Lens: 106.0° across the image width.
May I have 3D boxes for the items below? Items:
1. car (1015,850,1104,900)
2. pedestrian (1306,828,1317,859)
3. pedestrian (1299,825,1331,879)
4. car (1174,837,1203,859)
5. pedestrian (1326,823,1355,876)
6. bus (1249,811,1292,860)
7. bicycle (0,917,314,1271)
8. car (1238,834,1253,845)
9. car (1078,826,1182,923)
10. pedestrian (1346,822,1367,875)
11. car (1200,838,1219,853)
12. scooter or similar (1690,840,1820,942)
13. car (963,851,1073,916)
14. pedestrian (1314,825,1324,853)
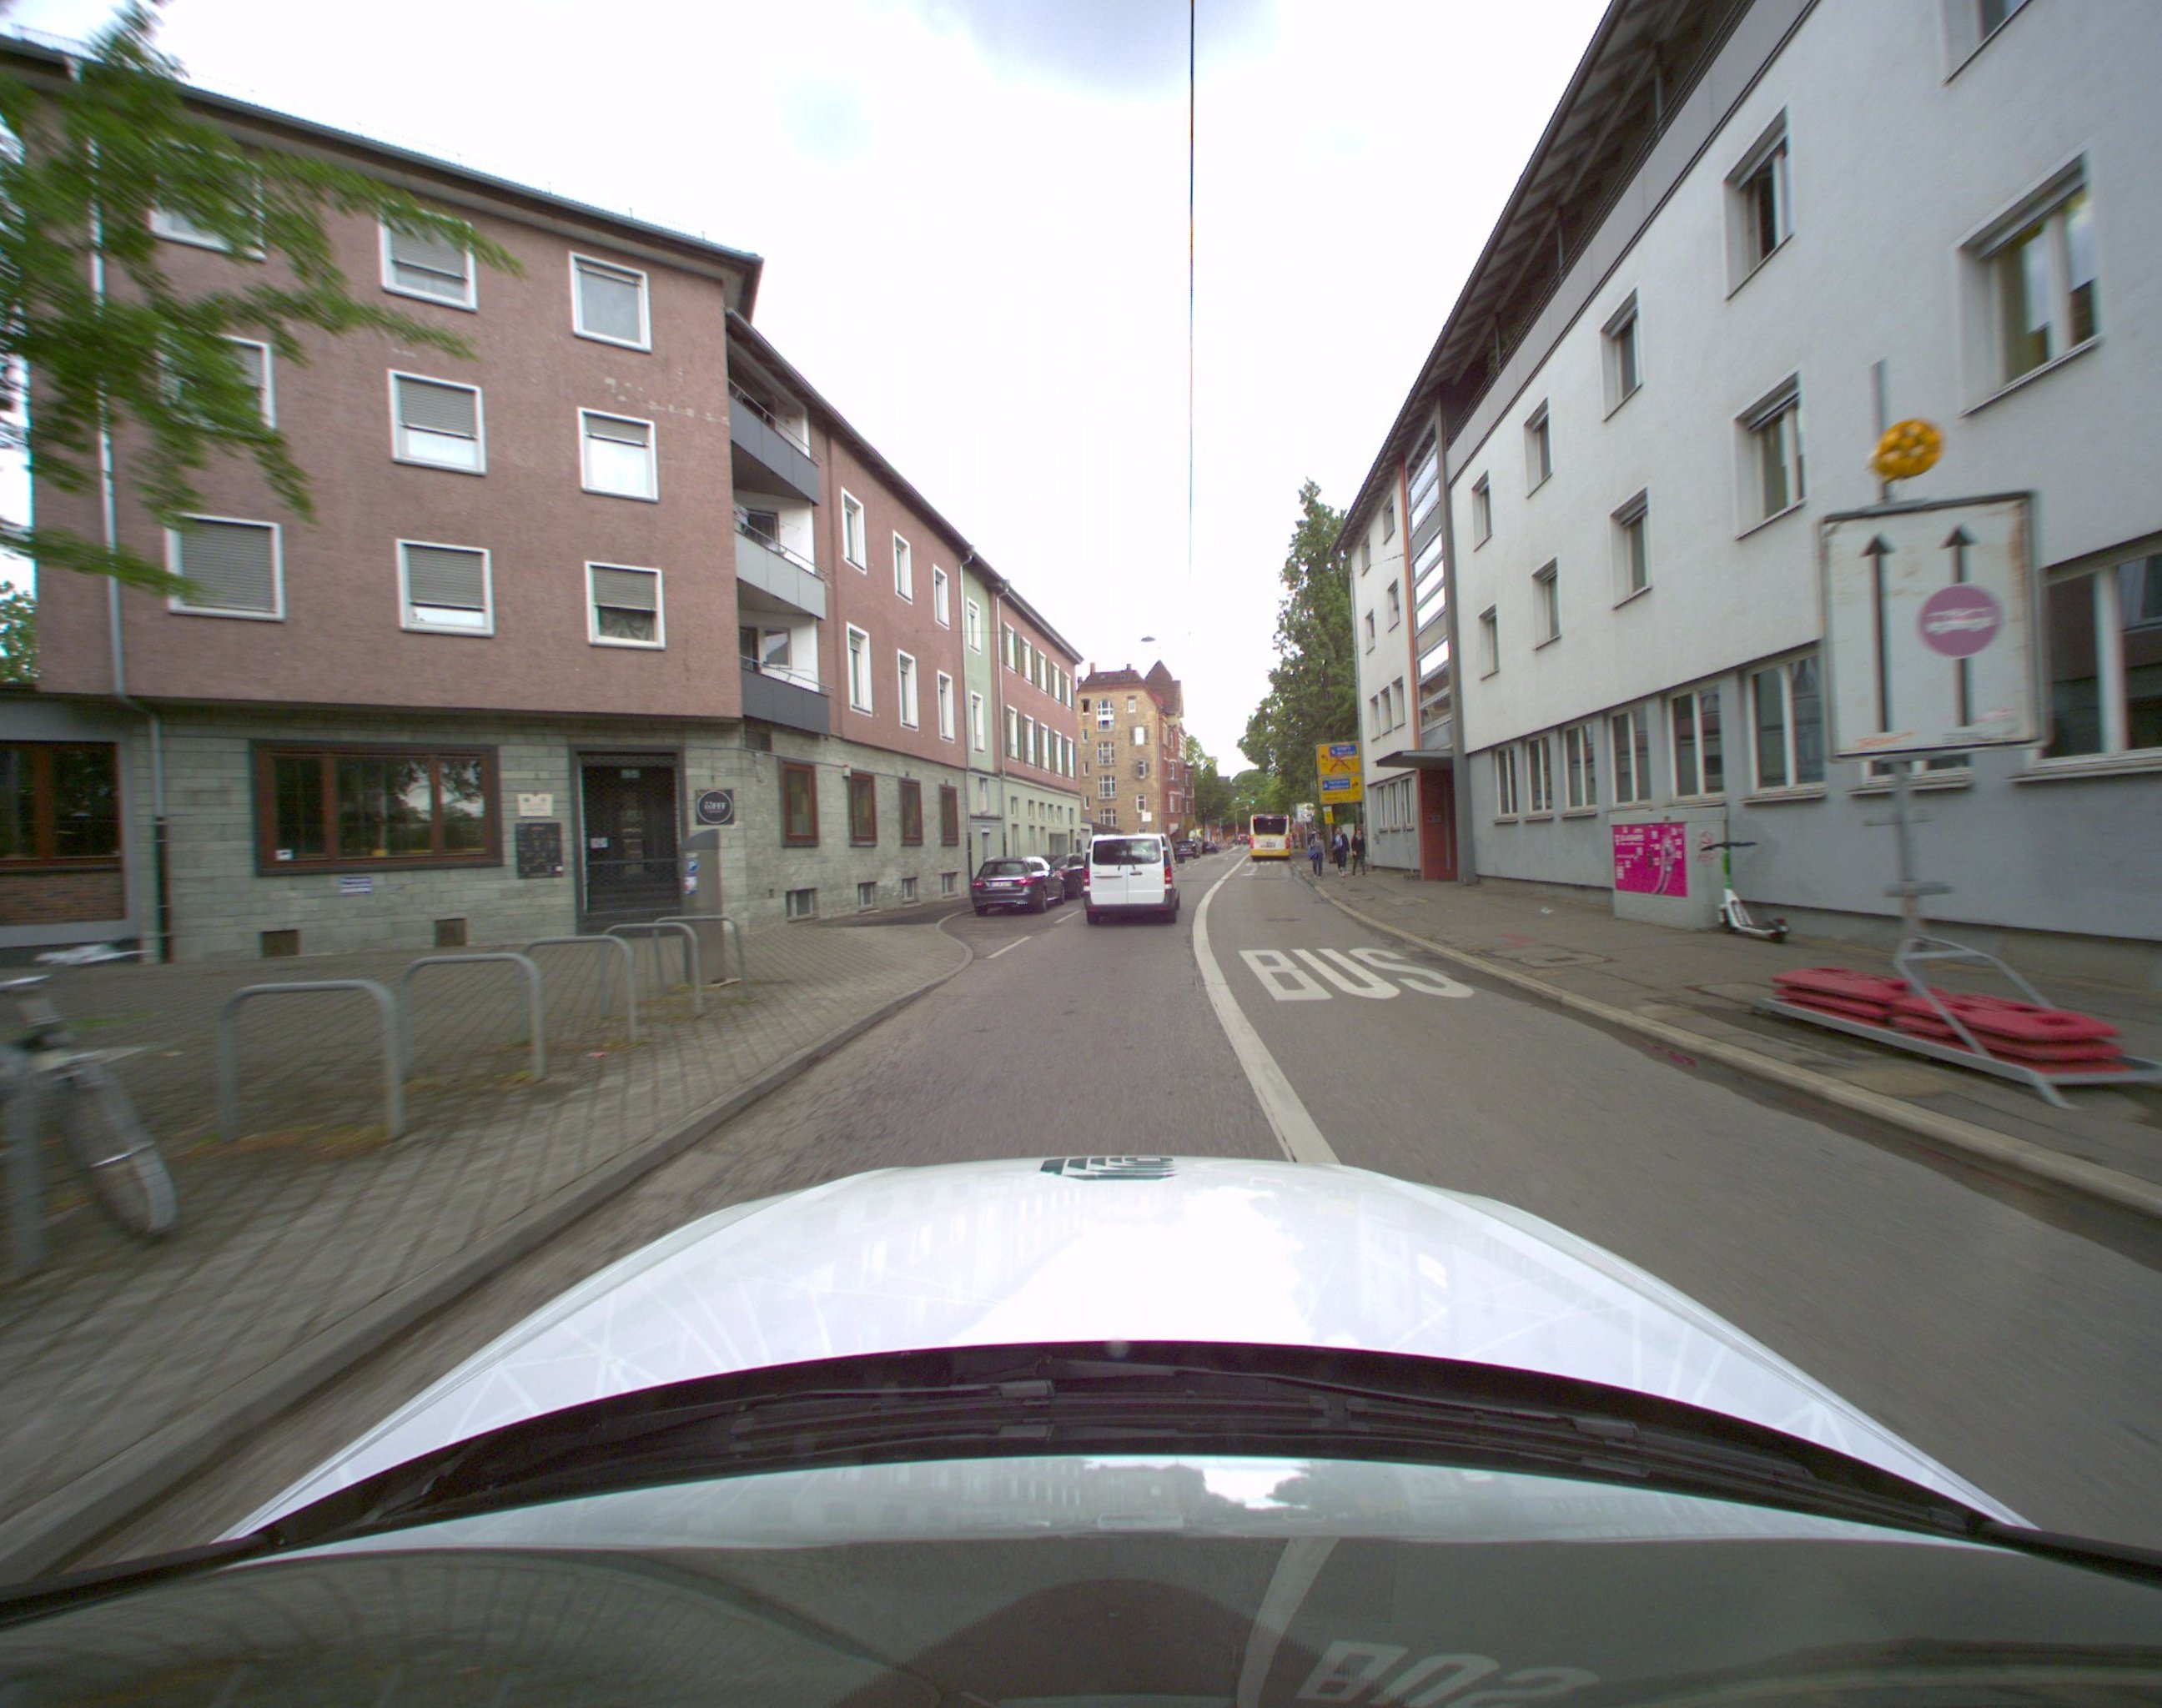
[{"bbox_3d":[-0.594,0.629,27.202,1.817,1.455,4.937,-2,0,12],"label":"car"},{"bbox_3d":[13.531,-0.611,47.911,0.578,1.778,0.824,0,1,13],"label":"pedestrian"},{"bbox_3d":[8.201,-0.071,28.550,0.799,1.793,0.944,-5,1,7],"label":"pedestrian"},{"bbox_3d":[9.194,-0.558,69.511,1.940,1.733,4.792,-2,1,13],"label":"car"},{"bbox_3d":[9.049,-0.172,28.427,0.683,1.756,0.880,-5,1,7],"label":"pedestrian"},{"bbox_3d":[13.445,-1.329,57.593,2.644,3.135,10.078,0,1,14],"label":"bus"},{"bbox_3d":[-4.266,0.878,3.123,1.803,1.176,0.722,0,0,-12],"label":"bicycle"},{"bbox_3d":[25.751,-2.249,127.679,2.022,1.485,4.409,-2,3,15],"label":"car"},{"bbox_3d":[1.247,0.424,18.403,1.906,1.901,4.712,0,-1,8],"label":"car"},{"bbox_3d":[9.296,-0.191,27.486,0.538,1.756,0.612,-4,1,20],"label":"pedestrian"},{"bbox_3d":[15.076,-1.048,95.578,1.712,1.485,4.409,-2,3,15],"label":"car"},{"bbox_3d":[8.018,0.403,9.758,0.426,1.097,1.442,-4,1,7],"label":"scooter or similar"},{"bbox_3d":[-1.542,0.707,21.744,1.818,1.455,4.596,-2,0,9],"label":"car"},{"bbox_3d":[15.629,-0.972,53.497,0.447,1.778,0.674,-5,0,13],"label":"pedestrian"}]
